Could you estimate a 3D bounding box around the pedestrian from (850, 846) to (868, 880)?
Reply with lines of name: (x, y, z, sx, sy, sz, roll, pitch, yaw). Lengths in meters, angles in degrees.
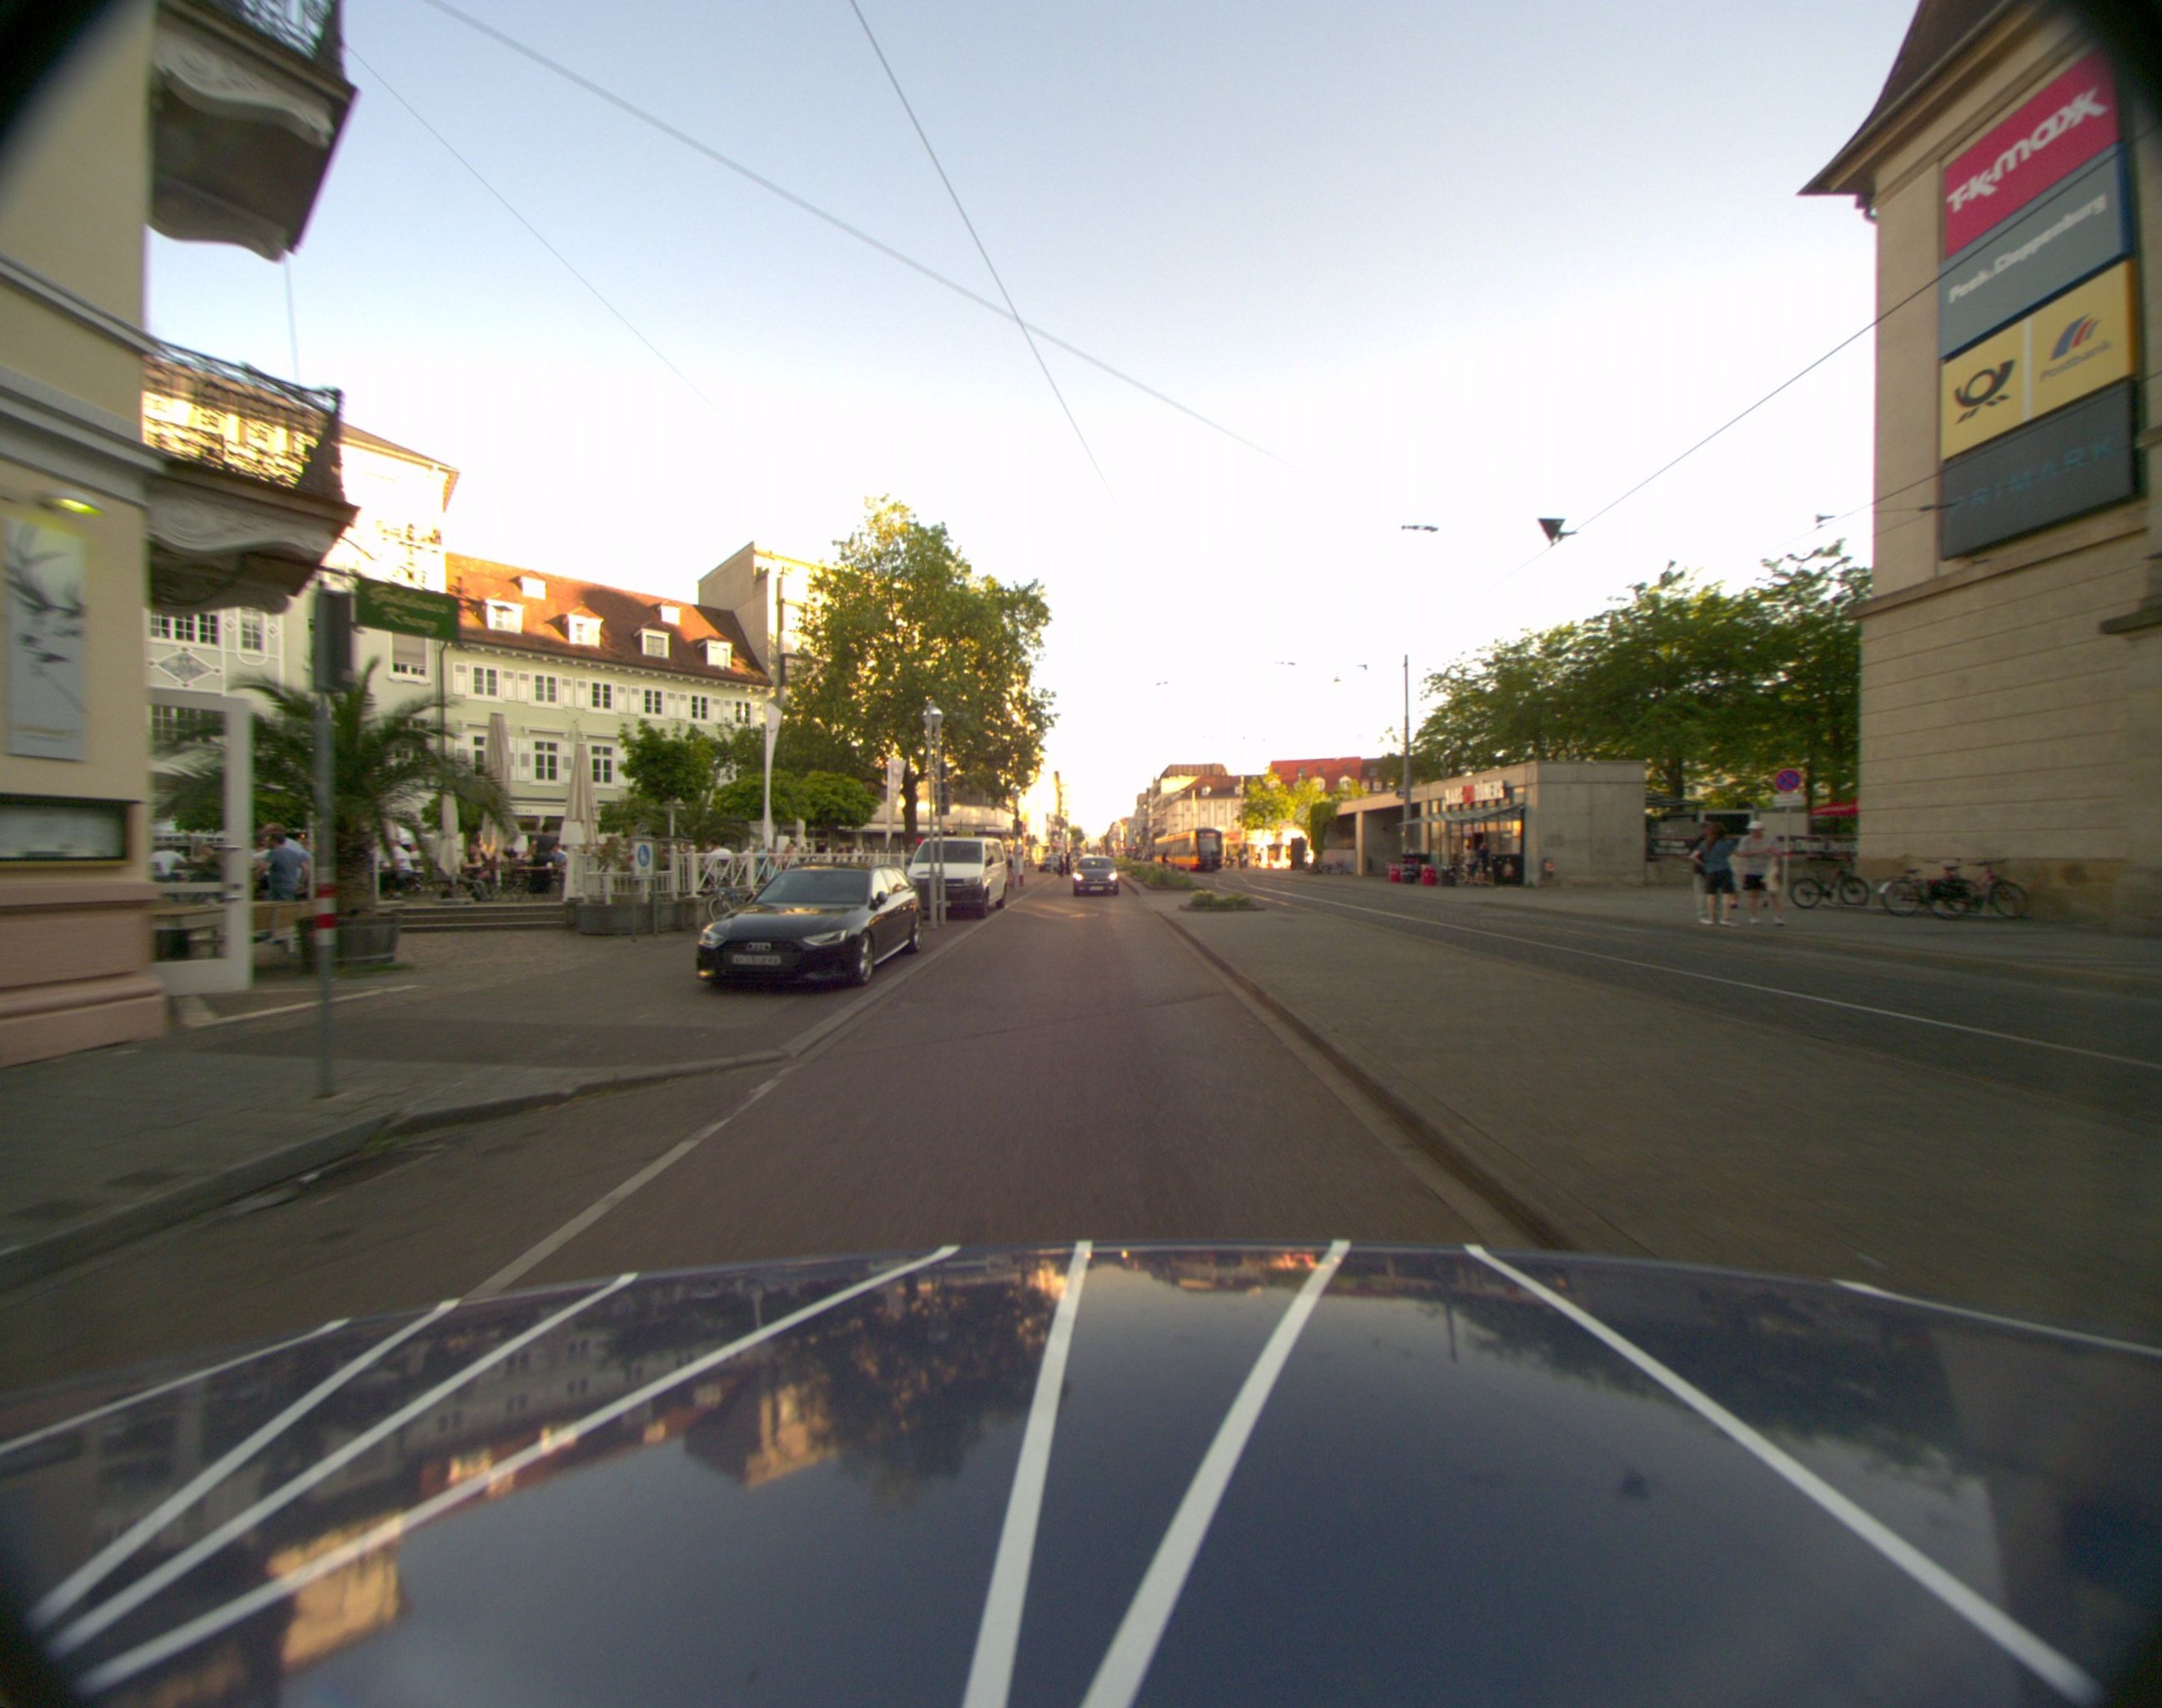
pedestrian: (-8.825, 0.355, 30.176, 0.532, 1.325, 0.491, -1, 1, 1)

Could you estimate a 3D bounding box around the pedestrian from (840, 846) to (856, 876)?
pedestrian: (-10.107, 0.287, 32.999, 0.532, 1.289, 0.491, -1, 1, 1)

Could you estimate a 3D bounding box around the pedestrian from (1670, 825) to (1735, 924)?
pedestrian: (11.103, 0.354, 13.586, 0.650, 1.726, 0.594, 1, 1, -8)

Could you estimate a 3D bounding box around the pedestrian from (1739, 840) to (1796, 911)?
pedestrian: (15.444, 0.467, 17.100, 0.661, 1.553, 0.679, -1, 1, -3)

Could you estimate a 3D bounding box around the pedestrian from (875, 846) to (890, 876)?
pedestrian: (-8.903, 0.330, 34.023, 0.532, 1.325, 0.491, -1, 1, 1)

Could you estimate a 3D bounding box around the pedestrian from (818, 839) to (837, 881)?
pedestrian: (-9.497, 0.212, 28.501, 0.490, 1.549, 0.532, -1, 1, 1)

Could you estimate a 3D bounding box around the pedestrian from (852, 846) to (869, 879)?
pedestrian: (-8.916, 0.341, 30.750, 0.532, 1.289, 0.491, -1, 1, 1)

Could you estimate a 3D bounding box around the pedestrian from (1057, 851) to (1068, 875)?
pedestrian: (-1.261, 0.587, 51.564, 0.638, 1.616, 0.519, -1, 2, -10)

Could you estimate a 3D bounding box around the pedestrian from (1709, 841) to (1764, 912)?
pedestrian: (14.718, 0.493, 17.075, 0.661, 1.553, 0.679, -1, 1, -3)

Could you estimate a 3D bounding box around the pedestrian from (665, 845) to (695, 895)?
pedestrian: (-10.677, 0.423, 20.249, 0.532, 1.325, 0.491, -1, 1, 1)

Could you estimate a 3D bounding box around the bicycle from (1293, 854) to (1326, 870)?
bicycle: (16.055, 0.558, 53.427, 2.131, 1.153, 0.692, -1, 1, 2)

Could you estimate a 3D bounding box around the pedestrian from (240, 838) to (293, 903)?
pedestrian: (-16.772, 0.335, 15.655, 0.490, 1.325, 0.532, -1, 1, 1)

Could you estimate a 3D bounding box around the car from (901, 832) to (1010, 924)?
car: (-3.034, 0.515, 19.560, 1.857, 2.055, 5.215, 0, 1, 1)

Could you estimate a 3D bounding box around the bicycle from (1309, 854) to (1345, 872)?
bicycle: (16.202, 0.601, 50.068, 2.131, 1.153, 0.692, -1, 1, 2)

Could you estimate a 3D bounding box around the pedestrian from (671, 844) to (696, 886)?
pedestrian: (-12.626, 0.346, 24.137, 0.490, 1.325, 0.532, -1, 1, 1)

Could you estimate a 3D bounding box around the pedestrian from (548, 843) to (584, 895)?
pedestrian: (-13.822, 0.402, 20.413, 0.590, 1.369, 0.532, -1, 1, -6)

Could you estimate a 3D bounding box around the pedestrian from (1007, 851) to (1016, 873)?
pedestrian: (-5.042, 0.572, 55.106, 0.638, 1.616, 0.519, -1, 2, -10)

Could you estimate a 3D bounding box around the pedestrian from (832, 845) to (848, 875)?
pedestrian: (-10.633, 0.273, 33.491, 0.532, 1.289, 0.491, -1, 1, 1)

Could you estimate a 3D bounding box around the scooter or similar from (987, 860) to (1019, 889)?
scooter or similar: (-3.407, 0.898, 33.327, 1.345, 1.225, 0.535, 1, 1, -2)

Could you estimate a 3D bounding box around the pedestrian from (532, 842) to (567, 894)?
pedestrian: (-13.837, 0.351, 19.785, 0.490, 1.325, 0.532, -1, 1, 1)

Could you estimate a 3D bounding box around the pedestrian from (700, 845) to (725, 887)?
pedestrian: (-11.637, 0.375, 24.013, 0.532, 1.325, 0.491, -1, 1, 1)

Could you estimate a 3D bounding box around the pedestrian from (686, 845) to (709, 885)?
pedestrian: (-12.833, 0.356, 25.428, 0.490, 1.325, 0.532, -1, 1, 1)

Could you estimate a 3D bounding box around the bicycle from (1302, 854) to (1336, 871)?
bicycle: (16.170, 0.579, 51.689, 2.131, 1.153, 0.692, -1, 1, 2)

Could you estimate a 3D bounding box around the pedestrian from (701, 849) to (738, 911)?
pedestrian: (-7.663, 0.548, 16.138, 0.532, 1.289, 0.491, -1, 1, 1)

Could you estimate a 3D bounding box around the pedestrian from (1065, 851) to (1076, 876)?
pedestrian: (-0.687, 0.618, 50.637, 0.638, 1.616, 0.519, -1, 2, -10)

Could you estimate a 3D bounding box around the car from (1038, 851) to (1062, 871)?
car: (-2.590, 0.538, 64.751, 1.771, 1.565, 3.999, 2, 1, 1)

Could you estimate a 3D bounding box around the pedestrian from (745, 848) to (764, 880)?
pedestrian: (-13.331, 0.422, 31.040, 0.532, 1.289, 0.491, -1, 1, 1)

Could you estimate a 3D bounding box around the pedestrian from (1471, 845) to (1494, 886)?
pedestrian: (16.229, 0.450, 30.719, 0.563, 1.643, 0.552, -2, 1, -5)

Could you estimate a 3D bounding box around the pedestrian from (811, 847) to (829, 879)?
pedestrian: (-10.374, 0.351, 30.173, 0.532, 1.289, 0.491, -1, 1, 1)

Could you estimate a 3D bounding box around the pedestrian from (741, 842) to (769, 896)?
pedestrian: (-7.853, 0.349, 18.298, 0.532, 1.289, 0.490, -1, 1, -14)

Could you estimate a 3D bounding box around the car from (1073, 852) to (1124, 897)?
car: (0.655, 0.704, 28.527, 1.738, 1.495, 3.999, -2, 1, 1)

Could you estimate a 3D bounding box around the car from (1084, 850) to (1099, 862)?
car: (1.402, 0.263, 100.093, 1.810, 1.474, 4.283, -3, 0, 0)

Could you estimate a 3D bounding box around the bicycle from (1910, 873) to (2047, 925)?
bicycle: (16.743, 0.833, 14.201, 1.839, 0.863, 0.635, -2, 1, -1)

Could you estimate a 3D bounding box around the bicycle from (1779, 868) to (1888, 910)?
bicycle: (16.803, 0.773, 16.979, 1.839, 0.863, 0.635, -2, 1, -1)

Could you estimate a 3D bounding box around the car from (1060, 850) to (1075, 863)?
car: (-1.732, 0.347, 97.183, 1.771, 1.565, 3.999, 2, 1, 1)

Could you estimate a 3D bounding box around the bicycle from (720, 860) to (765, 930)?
bicycle: (-7.058, 0.820, 15.888, 0.344, 1.383, 1.291, -1, 1, 0)

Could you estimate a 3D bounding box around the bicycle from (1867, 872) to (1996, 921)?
bicycle: (16.684, 0.825, 14.925, 1.839, 0.863, 0.635, -2, 1, -1)

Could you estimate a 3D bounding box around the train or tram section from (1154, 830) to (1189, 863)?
train or tram section: (10.520, -0.816, 89.241, 2.902, 3.664, 10.784, -1, 0, 1)

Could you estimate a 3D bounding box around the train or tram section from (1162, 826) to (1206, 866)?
train or tram section: (10.385, -0.762, 77.832, 2.902, 3.664, 11.983, -1, 0, 1)

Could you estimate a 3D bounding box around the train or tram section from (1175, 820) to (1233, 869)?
train or tram section: (10.261, -0.743, 65.022, 2.902, 3.664, 13.481, -1, 0, 1)

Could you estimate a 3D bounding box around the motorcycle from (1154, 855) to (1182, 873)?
motorcycle: (6.172, 0.695, 53.841, 1.780, 1.230, 0.805, -2, 1, -16)

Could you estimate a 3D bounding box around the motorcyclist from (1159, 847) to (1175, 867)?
motorcyclist: (6.090, 0.201, 53.808, 0.800, 1.431, 0.799, -2, 1, -17)

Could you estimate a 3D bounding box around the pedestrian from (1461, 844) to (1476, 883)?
pedestrian: (16.557, 0.417, 32.447, 0.394, 1.643, 0.401, -2, 1, -5)

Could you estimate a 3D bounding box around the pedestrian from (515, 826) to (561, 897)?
pedestrian: (-13.263, 0.182, 18.574, 0.590, 1.682, 0.732, -1, 1, -6)

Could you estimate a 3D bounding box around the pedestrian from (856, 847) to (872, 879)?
pedestrian: (-8.970, 0.366, 31.410, 0.532, 1.289, 0.491, -1, 1, 1)

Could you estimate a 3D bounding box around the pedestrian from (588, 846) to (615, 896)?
pedestrian: (-12.310, 0.418, 19.527, 0.491, 1.259, 0.531, -1, 1, -23)

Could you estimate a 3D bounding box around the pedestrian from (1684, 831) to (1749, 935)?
pedestrian: (10.780, 0.479, 12.905, 0.679, 1.726, 0.483, 1, 1, 15)

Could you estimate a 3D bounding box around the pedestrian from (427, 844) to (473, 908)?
pedestrian: (-13.240, 0.458, 15.950, 0.490, 1.325, 0.532, -1, 1, 1)

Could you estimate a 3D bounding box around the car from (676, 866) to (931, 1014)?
car: (-3.345, 0.933, 10.180, 1.701, 1.382, 4.547, 1, 1, 0)

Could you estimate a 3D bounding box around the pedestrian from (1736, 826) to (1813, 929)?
pedestrian: (11.964, 0.403, 13.120, 0.676, 1.726, 0.680, 1, 1, -5)
